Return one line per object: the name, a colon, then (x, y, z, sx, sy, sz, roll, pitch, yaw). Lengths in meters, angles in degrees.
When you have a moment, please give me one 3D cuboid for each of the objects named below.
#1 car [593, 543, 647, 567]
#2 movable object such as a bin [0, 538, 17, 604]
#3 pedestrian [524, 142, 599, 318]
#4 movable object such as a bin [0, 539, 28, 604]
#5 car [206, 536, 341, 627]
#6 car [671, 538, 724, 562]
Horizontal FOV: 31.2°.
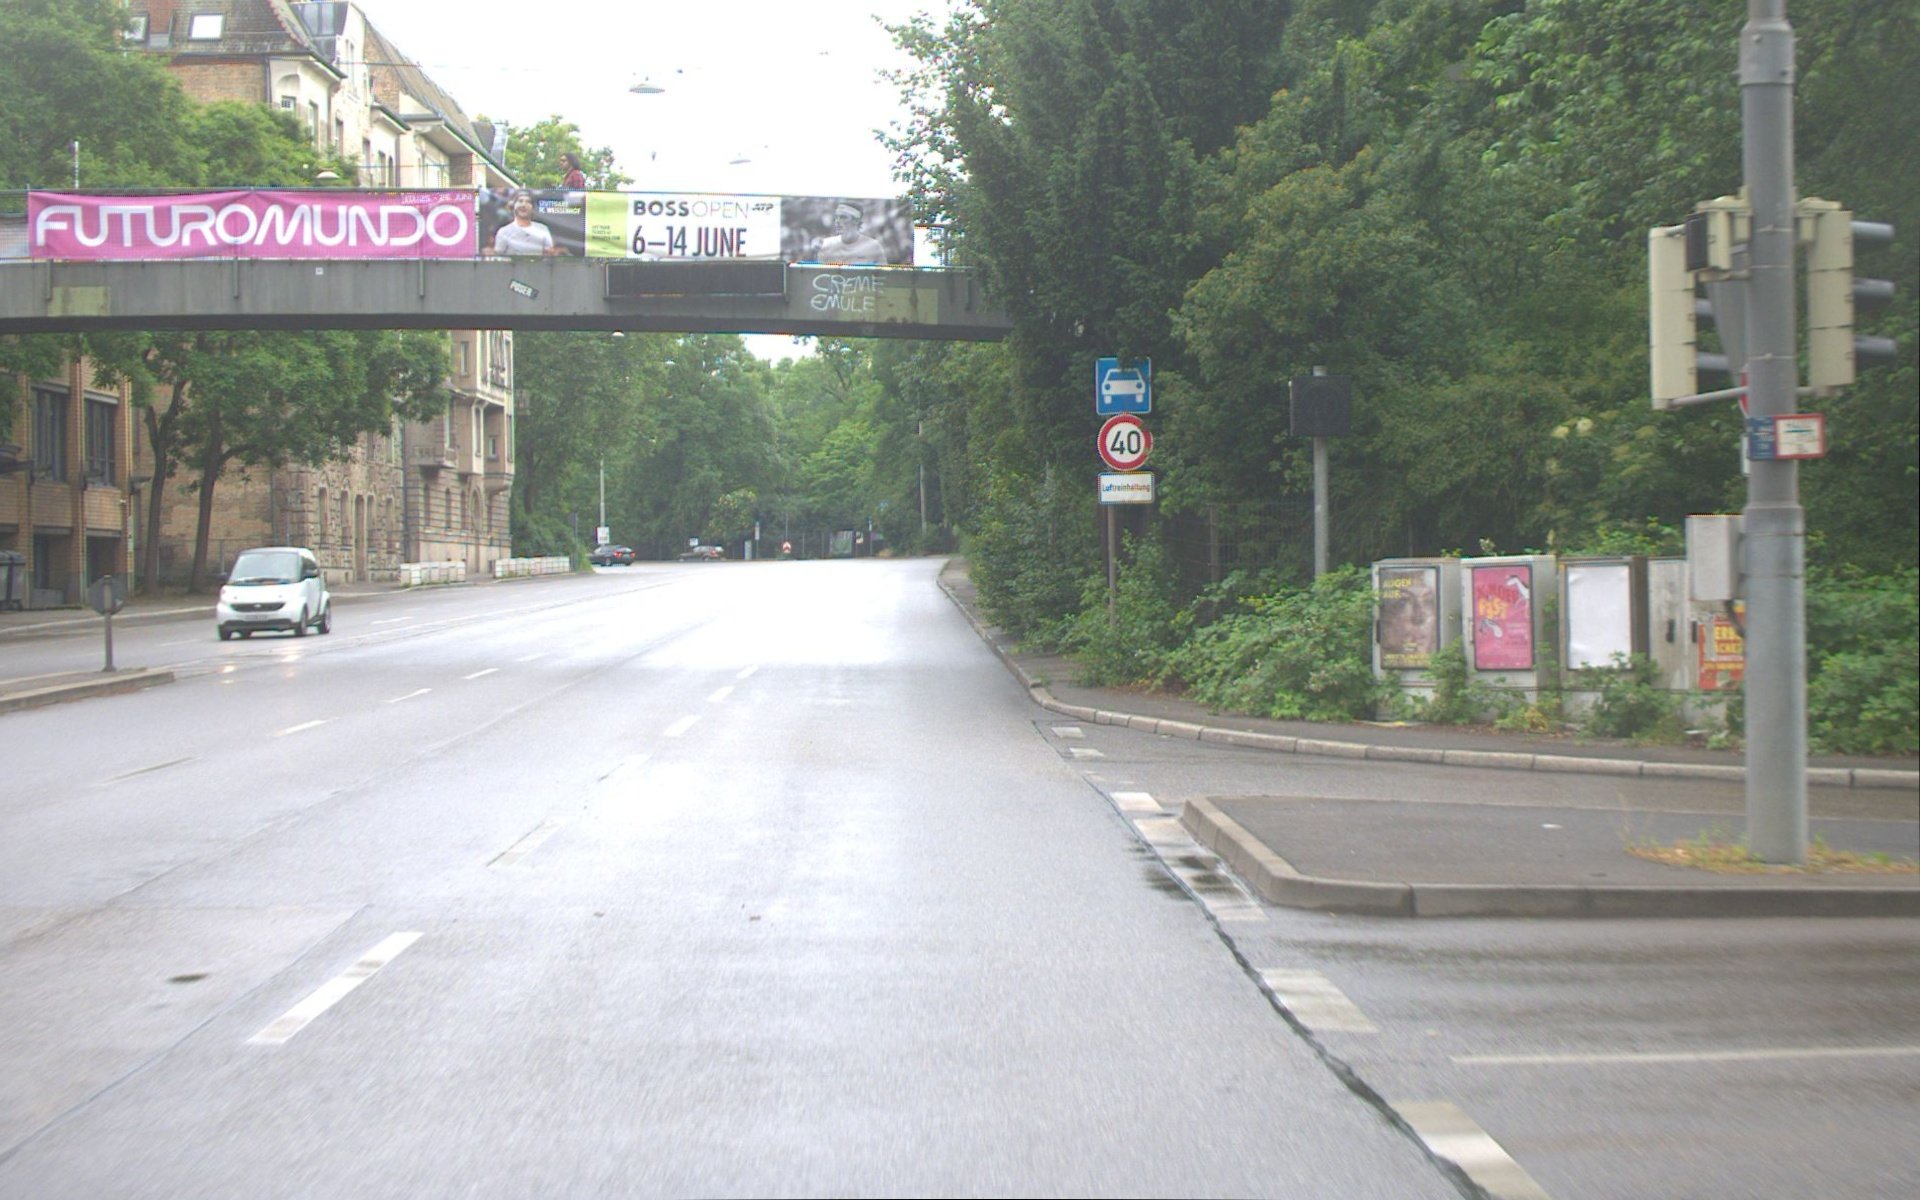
car: (-23.450, -3.071, 237.007, 2.004, 1.638, 4.376, -1, 1, -32)
movable object such as a bin: (-22.535, -0.673, 79.216, 1.282, 1.513, 1.273, 0, 1, 0)
pedestrian: (-5.632, -5.213, 48.564, 0.954, 2.337, 1.007, 2, 0, -7)
movable object such as a bin: (-22.759, -0.685, 80.947, 1.299, 1.513, 1.214, 0, 1, 0)
car: (-11.910, -0.337, 59.833, 1.600, 1.494, 3.712, -1, 1, -1)
car: (-18.735, -3.558, 245.887, 3.587, 1.542, 1.613, 2, 1, 1)
